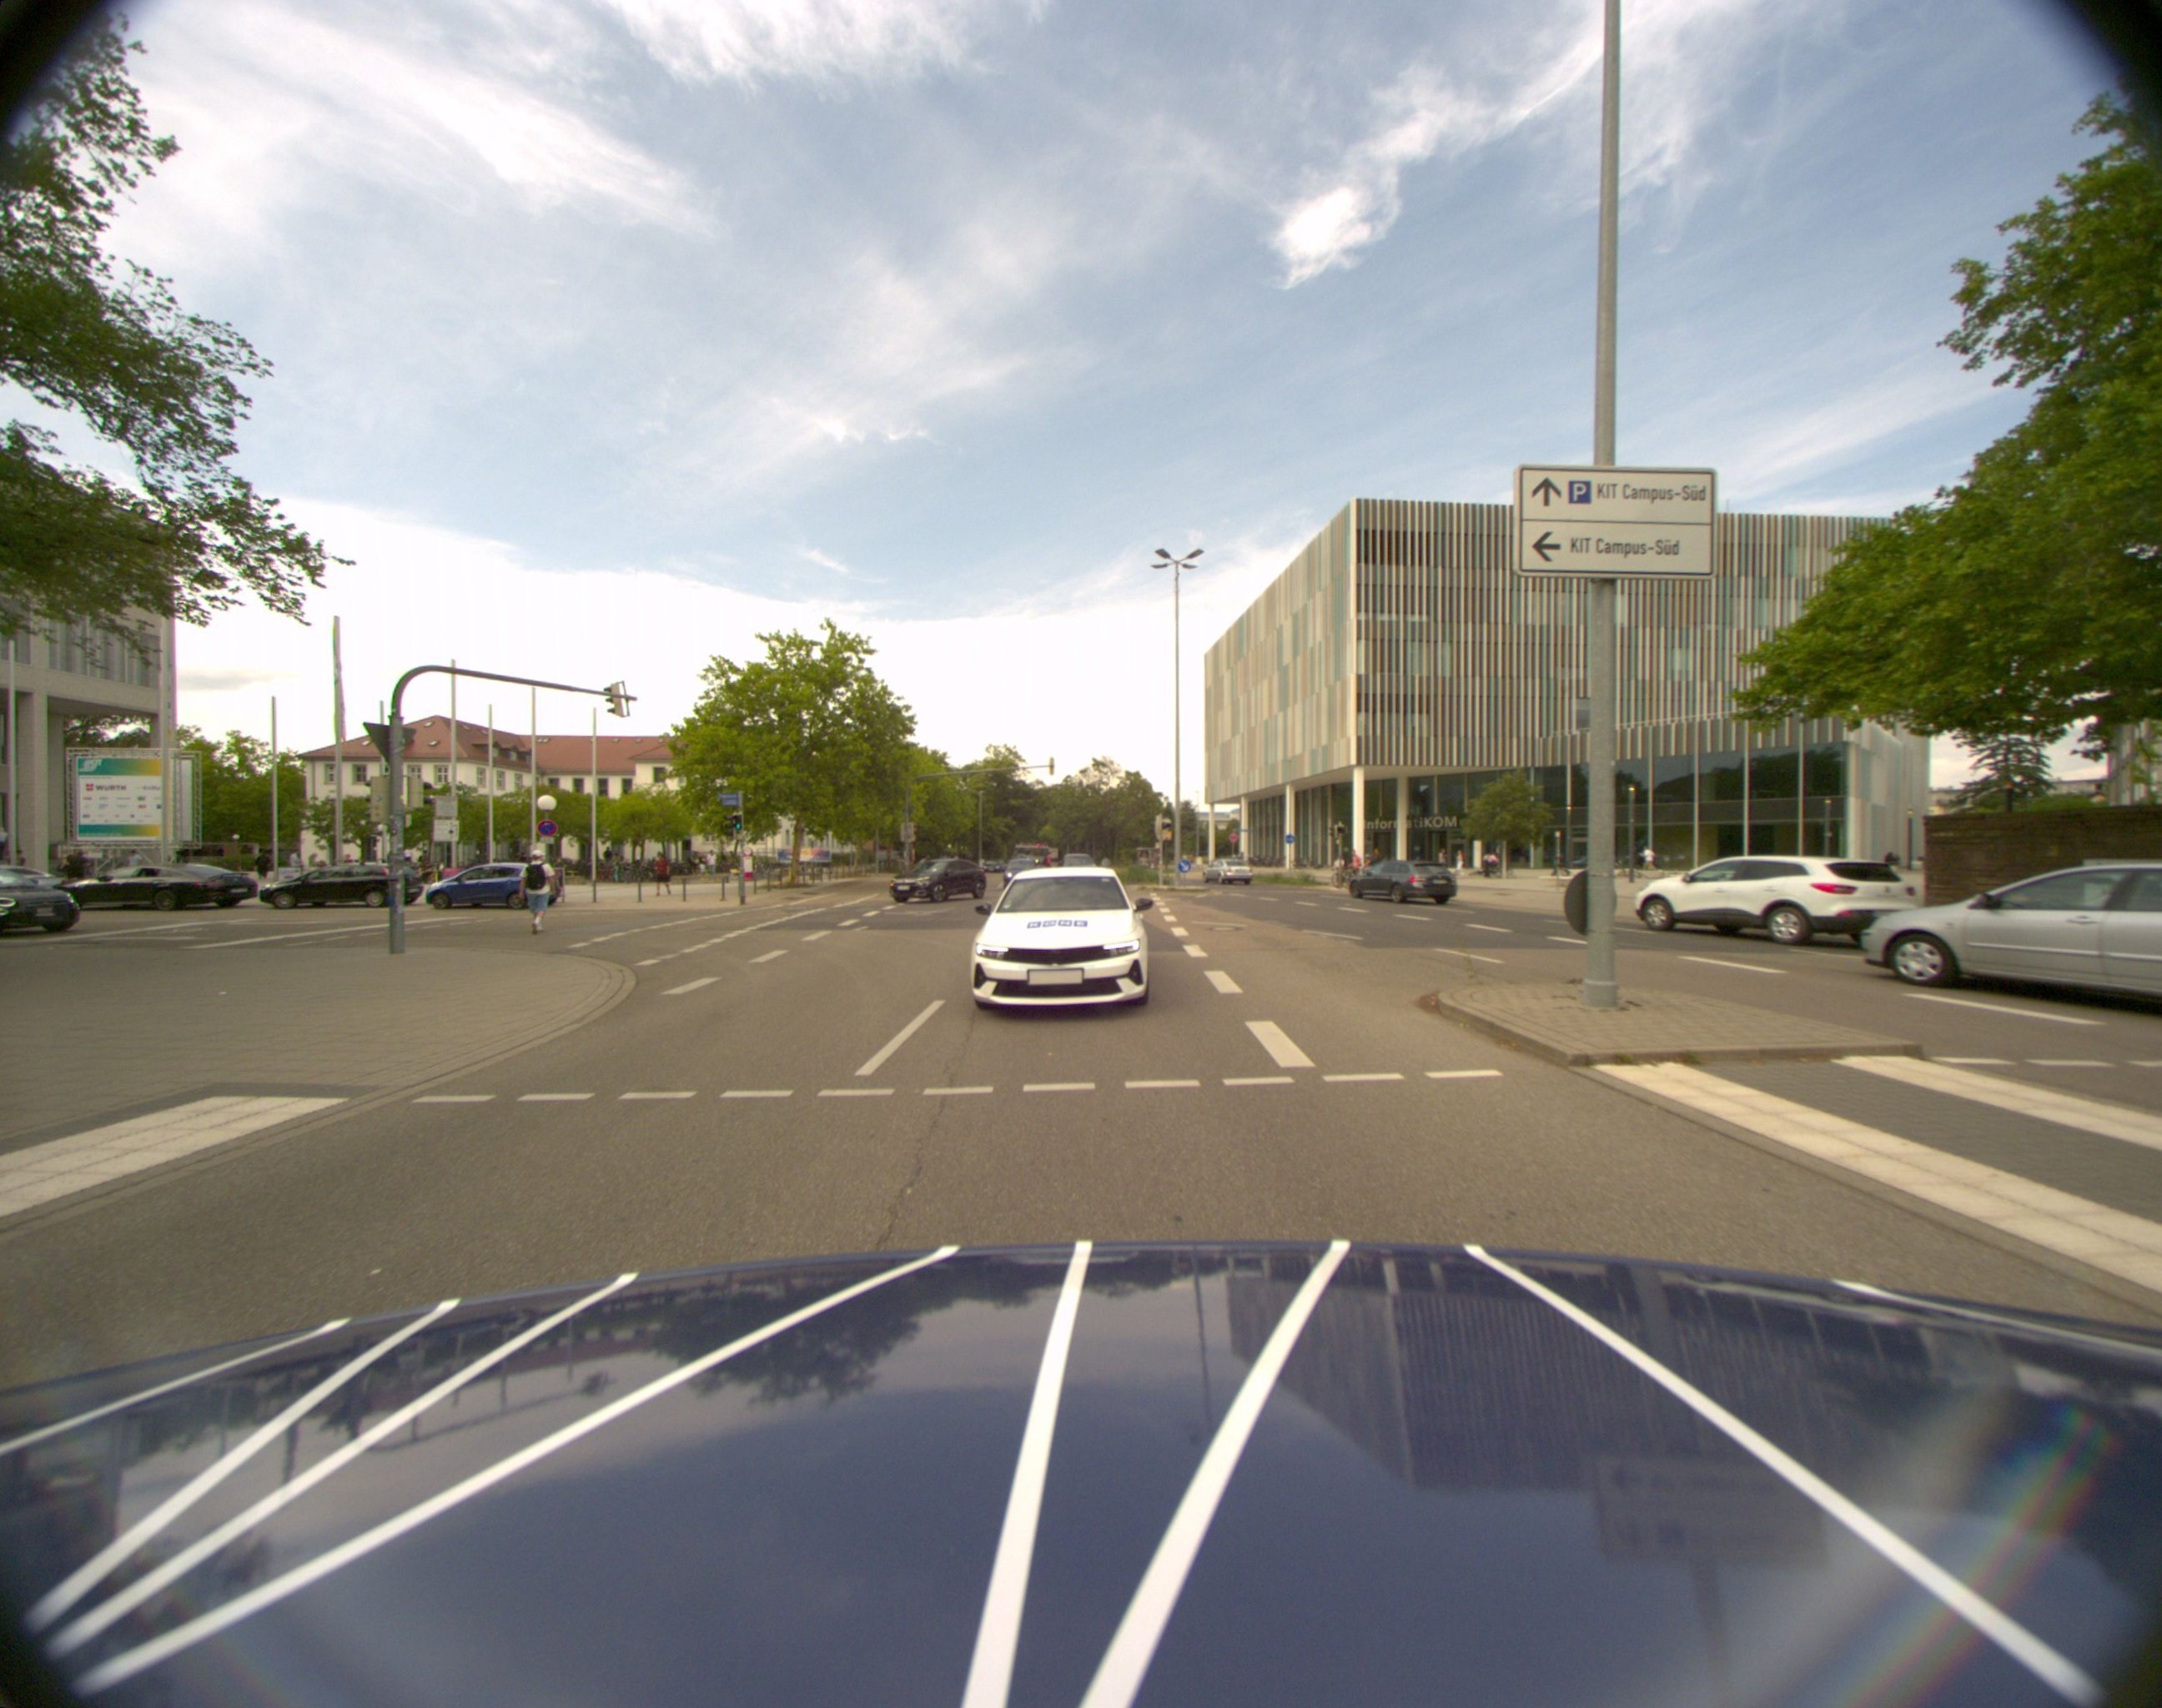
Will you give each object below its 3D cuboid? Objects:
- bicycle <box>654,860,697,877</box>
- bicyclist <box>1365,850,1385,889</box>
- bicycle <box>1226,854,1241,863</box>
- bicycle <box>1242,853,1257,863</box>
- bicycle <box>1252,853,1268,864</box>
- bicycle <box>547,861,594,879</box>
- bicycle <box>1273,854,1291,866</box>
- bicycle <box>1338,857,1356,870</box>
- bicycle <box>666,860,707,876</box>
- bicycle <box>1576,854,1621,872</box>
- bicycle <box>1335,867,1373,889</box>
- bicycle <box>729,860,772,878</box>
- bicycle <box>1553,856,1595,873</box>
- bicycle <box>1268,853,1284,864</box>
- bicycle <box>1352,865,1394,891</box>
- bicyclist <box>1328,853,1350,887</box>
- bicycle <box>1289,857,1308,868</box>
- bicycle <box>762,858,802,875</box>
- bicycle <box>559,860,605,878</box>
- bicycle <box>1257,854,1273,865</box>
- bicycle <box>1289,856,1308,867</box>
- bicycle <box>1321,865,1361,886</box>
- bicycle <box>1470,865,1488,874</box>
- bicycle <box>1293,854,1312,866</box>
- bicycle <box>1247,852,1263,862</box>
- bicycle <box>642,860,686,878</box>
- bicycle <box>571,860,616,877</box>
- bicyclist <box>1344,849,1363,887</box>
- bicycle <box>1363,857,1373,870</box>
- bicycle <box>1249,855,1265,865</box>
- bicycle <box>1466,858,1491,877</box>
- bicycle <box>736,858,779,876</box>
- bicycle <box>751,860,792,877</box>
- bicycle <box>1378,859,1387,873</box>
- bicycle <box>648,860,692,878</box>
[{"bbox_3d":[-27.669,0.991,51.872,2.472,1.136,0.717,-1,1,-3],"label":"bicycle"},{"bbox_3d":[13.637,0.723,35.290,0.602,1.796,0.561,-2,1,-18],"label":"bicyclist"},{"bbox_3d":[18.321,0.564,91.214,1.704,1.017,0.434,-2,1,-9],"label":"bicycle"},{"bbox_3d":[18.530,0.432,83.710,1.582,1.017,0.389,-2,1,-9],"label":"bicycle"},{"bbox_3d":[19.118,0.484,81.066,1.582,1.017,0.389,-2,1,-9],"label":"bicycle"},{"bbox_3d":[-32.683,1.021,48.697,2.472,1.136,0.717,-1,1,-3],"label":"bicycle"},{"bbox_3d":[19.698,0.587,74.492,1.582,1.017,0.389,-2,1,-9],"label":"bicycle"},{"bbox_3d":[20.520,0.755,58.596,1.613,0.932,0.393,-3,1,-37],"label":"bicycle"},{"bbox_3d":[-27.749,0.978,53.504,2.472,1.136,0.717,-1,1,-3],"label":"bicycle"},{"bbox_3d":[30.858,0.523,45.291,2.685,1.083,0.796,-1,1,-19],"label":"bicycle"},{"bbox_3d":[13.225,1.173,36.823,1.693,0.983,0.570,-2,1,-18],"label":"bicycle"},{"bbox_3d":[-21.317,0.980,49.042,2.472,1.136,0.717,-1,1,-3],"label":"bicycle"},{"bbox_3d":[30.074,0.631,46.354,2.685,0.994,0.672,-1,1,-19],"label":"bicycle"},{"bbox_3d":[19.652,0.471,76.612,1.582,1.017,0.389,-2,1,-9],"label":"bicycle"},{"bbox_3d":[13.550,1.091,35.249,1.897,1.163,0.606,-1,1,-19],"label":"bicycle"},{"bbox_3d":[13.099,0.790,38.573,0.729,1.663,0.722,-2,1,-18],"label":"bicyclist"},{"bbox_3d":[19.744,0.731,68.932,1.546,0.932,0.394,-2,1,-9],"label":"bicycle"},{"bbox_3d":[-20.968,0.894,53.247,2.472,1.136,0.717,-1,1,-3],"label":"bicycle"},{"bbox_3d":[-32.748,1.009,49.892,2.472,1.136,0.717,-1,1,-3],"label":"bicycle"},{"bbox_3d":[19.151,0.555,79.143,1.582,1.017,0.389,-2,1,-9],"label":"bicycle"},{"bbox_3d":[19.935,0.713,69.640,1.546,0.932,0.389,-2,1,-9],"label":"bicycle"},{"bbox_3d":[13.228,1.086,38.617,1.824,0.983,0.727,-2,1,-18],"label":"bicycle"},{"bbox_3d":[26.229,0.997,50.081,0.622,0.519,2.255,0,0,39],"label":"bicycle"},{"bbox_3d":[19.834,0.520,68.043,1.546,0.989,0.399,-2,1,-8],"label":"bicycle"},{"bbox_3d":[18.859,0.291,82.355,1.582,1.017,0.389,2,1,-9],"label":"bicycle"},{"bbox_3d":[-27.585,0.971,50.245,2.472,1.136,0.717,-1,1,-3],"label":"bicycle"},{"bbox_3d":[-32.833,0.957,51.210,2.472,1.136,0.717,-1,1,-3],"label":"bicycle"},{"bbox_3d":[13.201,0.670,36.810,0.602,1.796,0.561,-2,1,-18],"label":"bicyclist"},{"bbox_3d":[21.465,0.707,56.791,0.393,0.932,1.601,-2,1,29],"label":"bicycle"},{"bbox_3d":[18.976,0.617,81.828,1.582,1.017,0.389,-2,1,-9],"label":"bicycle"},{"bbox_3d":[21.973,0.736,41.976,0.440,0.993,1.748,-1,0,-1],"label":"bicycle"},{"bbox_3d":[-21.349,0.865,50.183,2.472,1.136,0.717,-1,1,-3],"label":"bicycle"},{"bbox_3d":[-21.338,1.014,52.449,2.472,1.136,0.717,-1,1,-3],"label":"bicycle"},{"bbox_3d":[22.247,0.880,56.087,0.393,0.932,1.601,-2,1,29],"label":"bicycle"},{"bbox_3d":[-27.625,0.999,51.077,2.472,1.136,0.717,-1,1,-3],"label":"bicycle"}]
